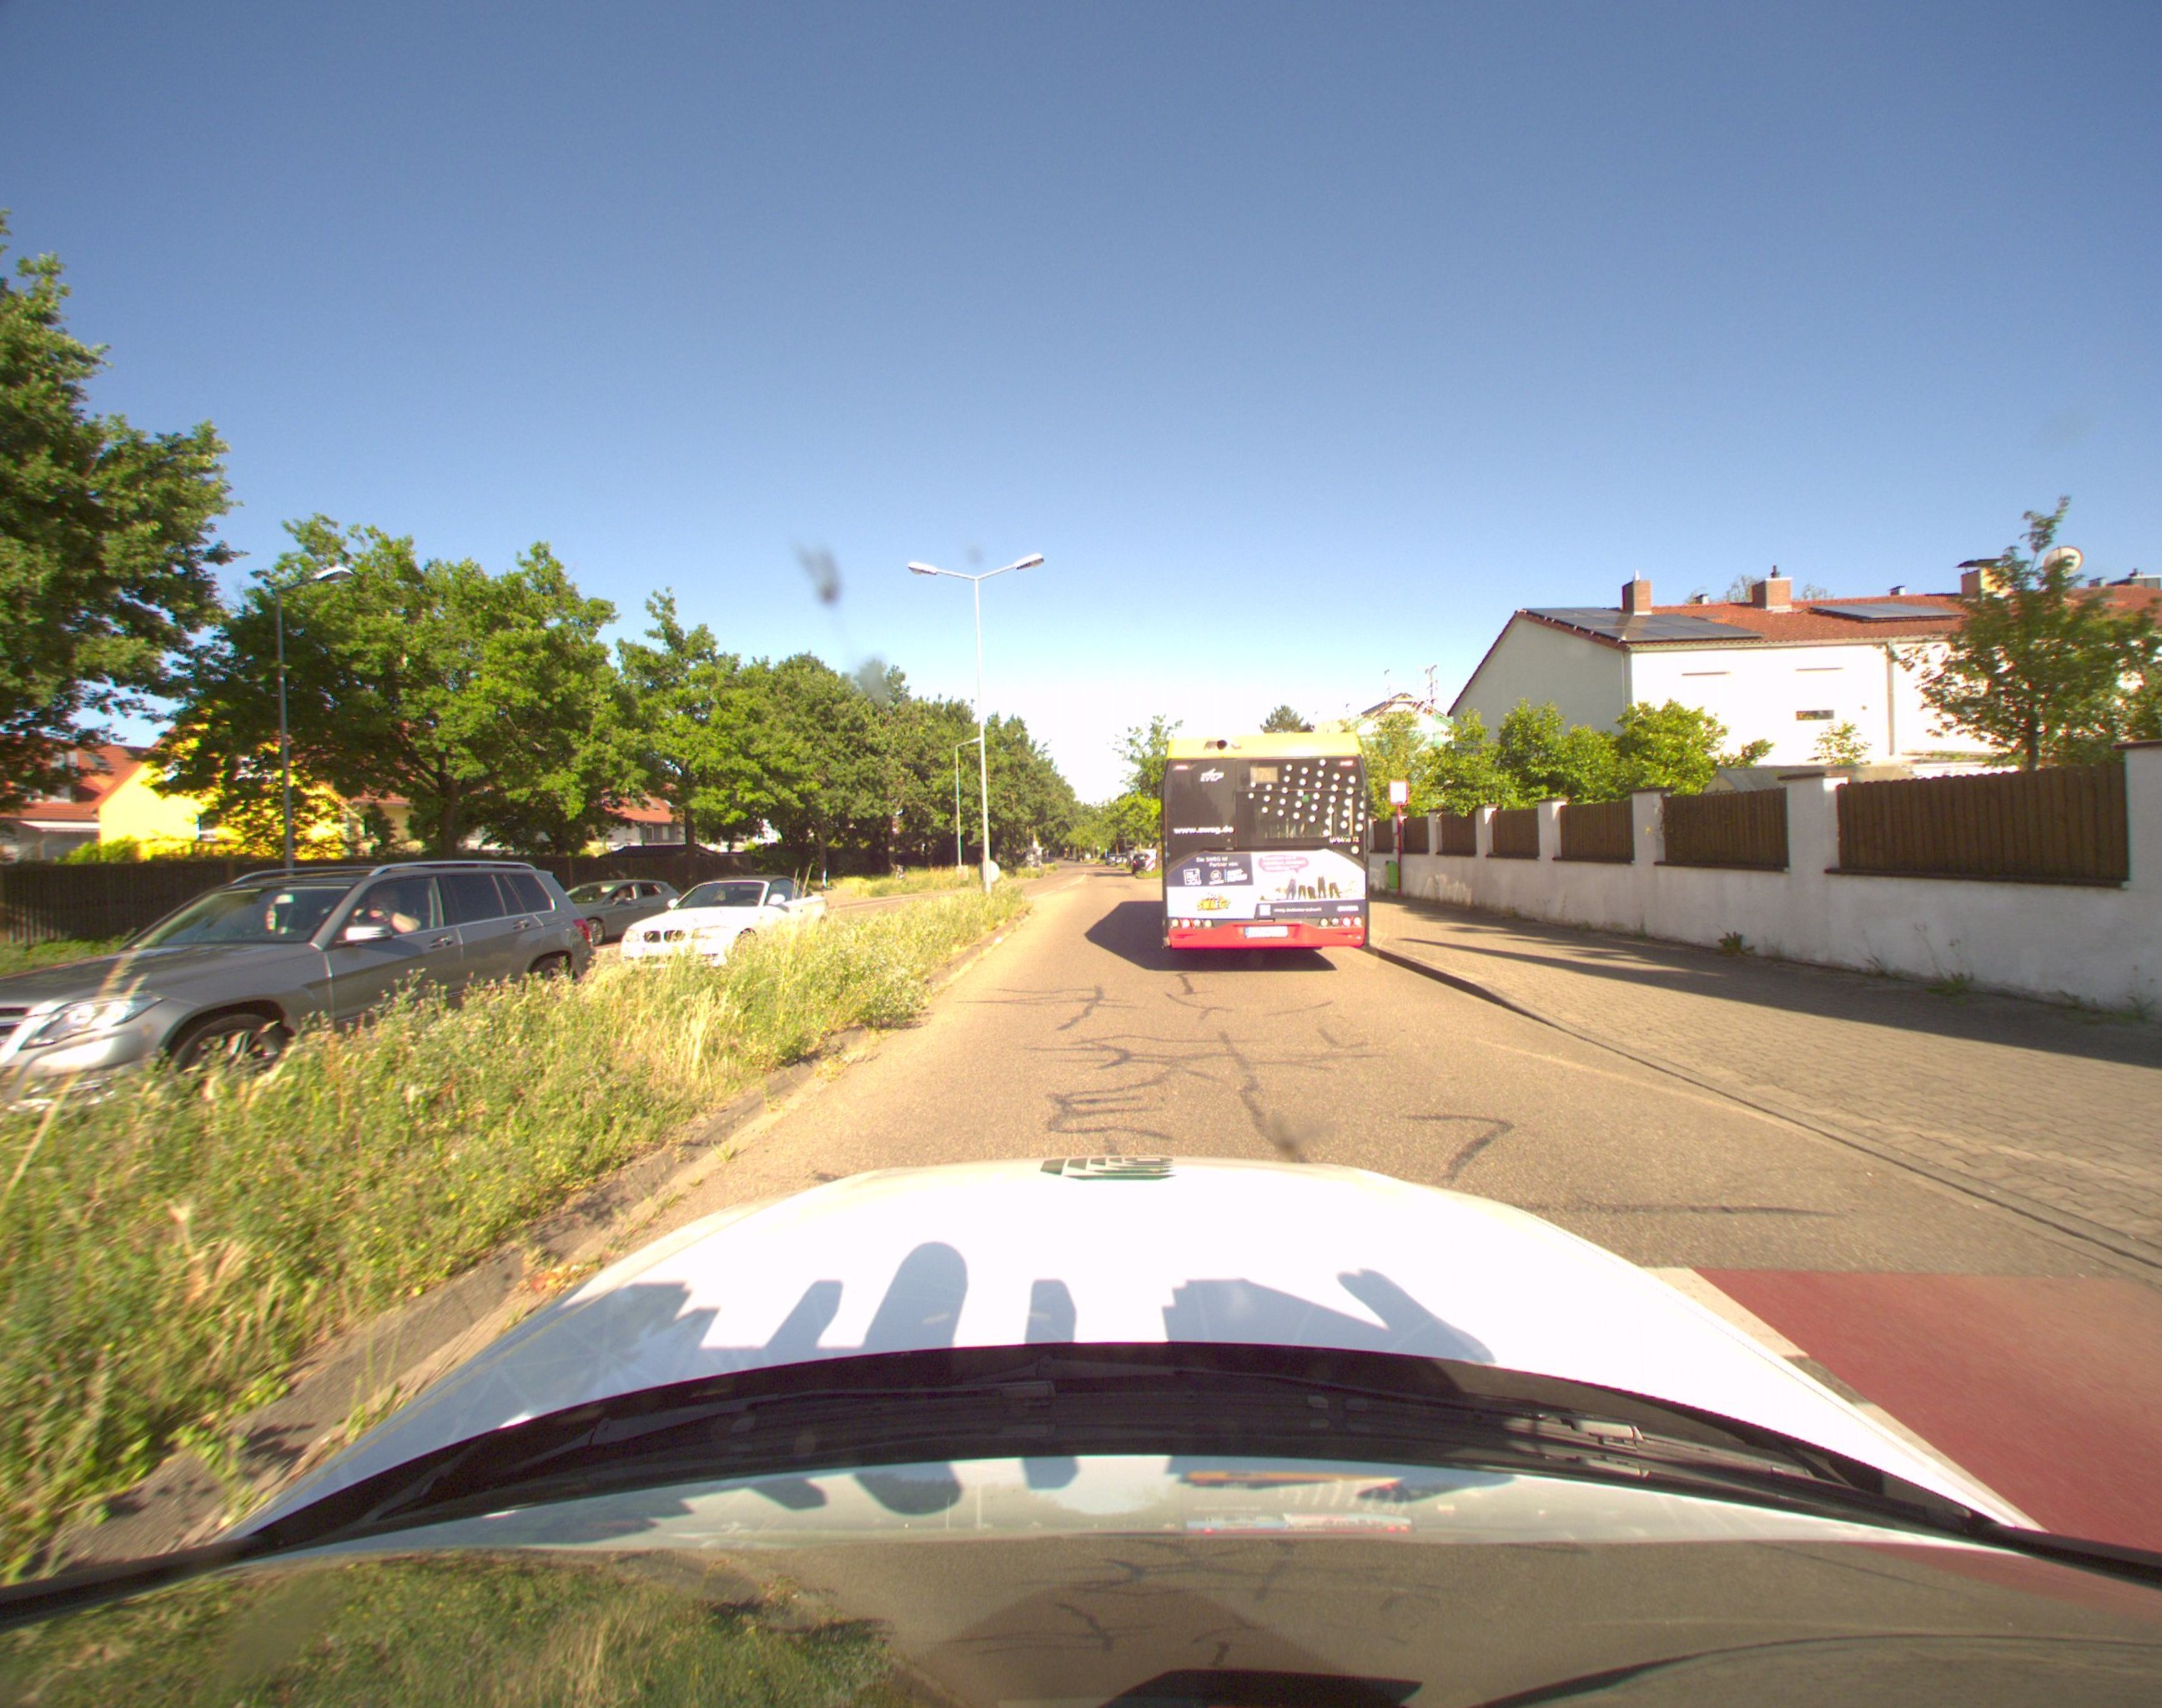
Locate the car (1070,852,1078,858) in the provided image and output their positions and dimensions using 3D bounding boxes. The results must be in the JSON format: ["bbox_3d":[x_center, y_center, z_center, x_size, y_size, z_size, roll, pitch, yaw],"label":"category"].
[{"bbox_3d":[-1.894,0.350,216.935,1.928,1.454,3.996,-2,0,-2],"label":"car"}]

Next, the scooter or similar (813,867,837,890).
[{"bbox_3d":[-14.056,1.332,44.802,0.535,1.218,1.420,0,1,18],"label":"scooter or similar"}]

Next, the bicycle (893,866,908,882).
[{"bbox_3d":[-12.458,1.364,56.185,0.503,1.053,1.881,-2,0,2],"label":"bicycle"}]

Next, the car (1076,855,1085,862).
[{"bbox_3d":[-0.194,1.146,192.182,1.928,1.542,3.998,-2,0,-1],"label":"car"}]

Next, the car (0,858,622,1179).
[{"bbox_3d":[-6.154,0.909,6.579,1.984,1.616,4.536,-2,0,5],"label":"car"}]

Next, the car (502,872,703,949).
[{"bbox_3d":[-11.087,1.258,19.227,1.697,1.431,4.015,-4,0,13],"label":"car"}]

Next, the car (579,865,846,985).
[{"bbox_3d":[-5.617,0.997,13.189,1.984,1.450,4.405,-2,0,5],"label":"car"}]

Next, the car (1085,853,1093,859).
[{"bbox_3d":[2.071,0.618,218.337,1.928,1.454,3.996,-2,0,-2],"label":"car"}]

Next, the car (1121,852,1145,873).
[{"bbox_3d":[4.080,0.667,64.844,1.666,1.578,3.752,-3,0,1],"label":"car"}]

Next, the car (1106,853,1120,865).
[{"bbox_3d":[4.808,0.718,122.926,1.928,1.742,3.998,-2,0,-1],"label":"car"}]

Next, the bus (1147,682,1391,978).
[{"bbox_3d":[2.910,-0.226,16.044,2.743,3.458,12.418,-3,-1,6],"label":"bus"}]

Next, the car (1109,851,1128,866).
[{"bbox_3d":[4.603,0.582,100.433,1.930,1.704,3.998,-2,0,-1],"label":"car"}]

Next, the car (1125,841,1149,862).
[{"bbox_3d":[5.491,-0.198,80.256,1.830,1.971,4.756,-2,0,-1],"label":"car"}]
